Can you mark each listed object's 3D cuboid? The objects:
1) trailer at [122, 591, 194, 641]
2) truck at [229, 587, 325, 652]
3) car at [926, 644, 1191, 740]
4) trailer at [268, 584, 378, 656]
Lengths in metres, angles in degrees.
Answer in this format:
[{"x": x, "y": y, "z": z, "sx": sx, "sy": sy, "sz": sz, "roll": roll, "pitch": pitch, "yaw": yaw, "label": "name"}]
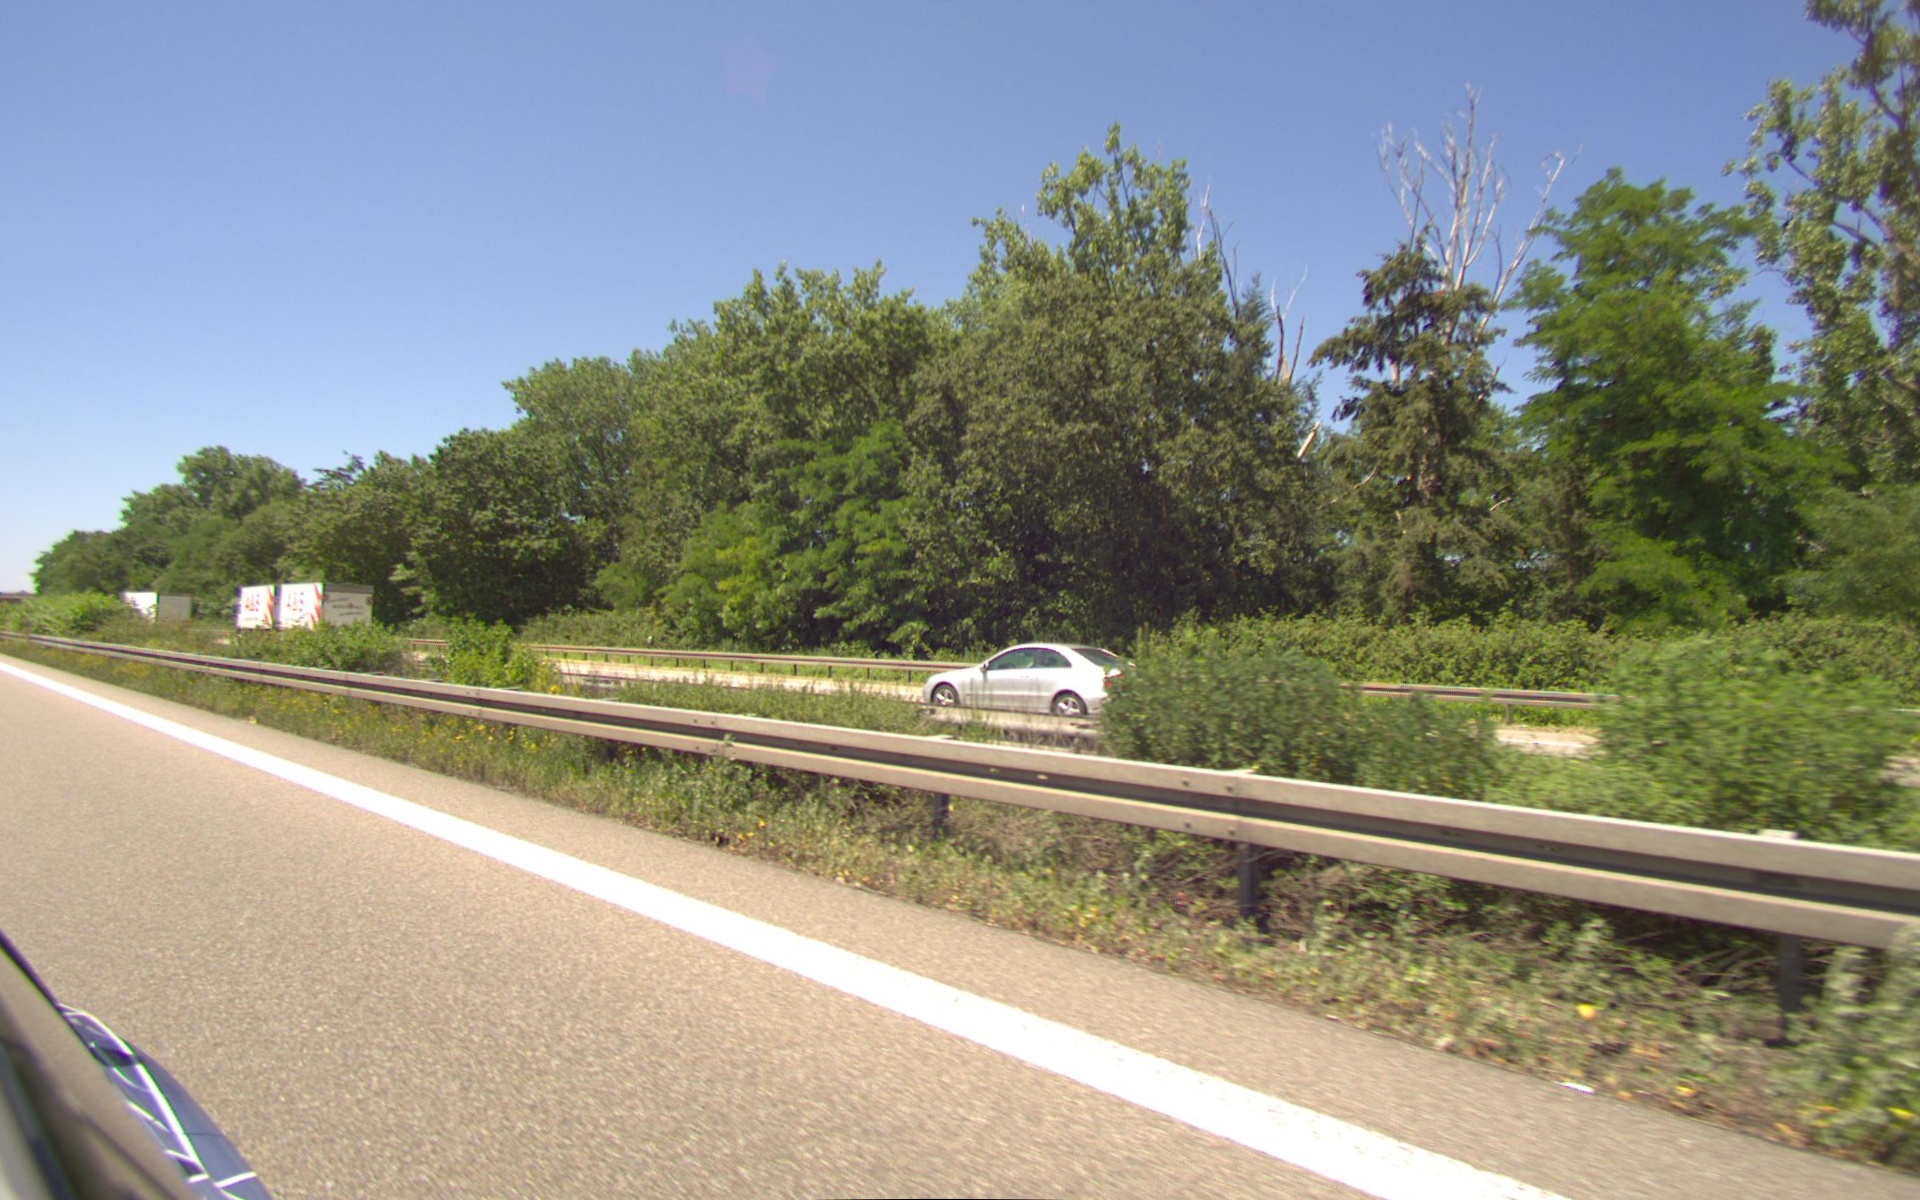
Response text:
[{"x": -71.923, "y": 1.462, "z": 90.605, "sx": 14.242, "sy": 4.121, "sz": 2.510, "roll": -1, "pitch": -4, "yaw": 42, "label": "trailer"}, {"x": -43.793, "y": 1.262, "z": 64.743, "sx": 9.273, "sy": 3.857, "sz": 2.895, "roll": -1, "pitch": -2, "yaw": 42, "label": "truck"}, {"x": 1.605, "y": 1.484, "z": 17.436, "sx": 4.308, "sy": 1.390, "sz": 1.834, "roll": -1, "pitch": -2, "yaw": 41, "label": "car"}, {"x": -36.955, "y": 1.175, "z": 58.553, "sx": 9.273, "sy": 3.857, "sz": 2.895, "roll": -1, "pitch": -2, "yaw": 42, "label": "trailer"}]
